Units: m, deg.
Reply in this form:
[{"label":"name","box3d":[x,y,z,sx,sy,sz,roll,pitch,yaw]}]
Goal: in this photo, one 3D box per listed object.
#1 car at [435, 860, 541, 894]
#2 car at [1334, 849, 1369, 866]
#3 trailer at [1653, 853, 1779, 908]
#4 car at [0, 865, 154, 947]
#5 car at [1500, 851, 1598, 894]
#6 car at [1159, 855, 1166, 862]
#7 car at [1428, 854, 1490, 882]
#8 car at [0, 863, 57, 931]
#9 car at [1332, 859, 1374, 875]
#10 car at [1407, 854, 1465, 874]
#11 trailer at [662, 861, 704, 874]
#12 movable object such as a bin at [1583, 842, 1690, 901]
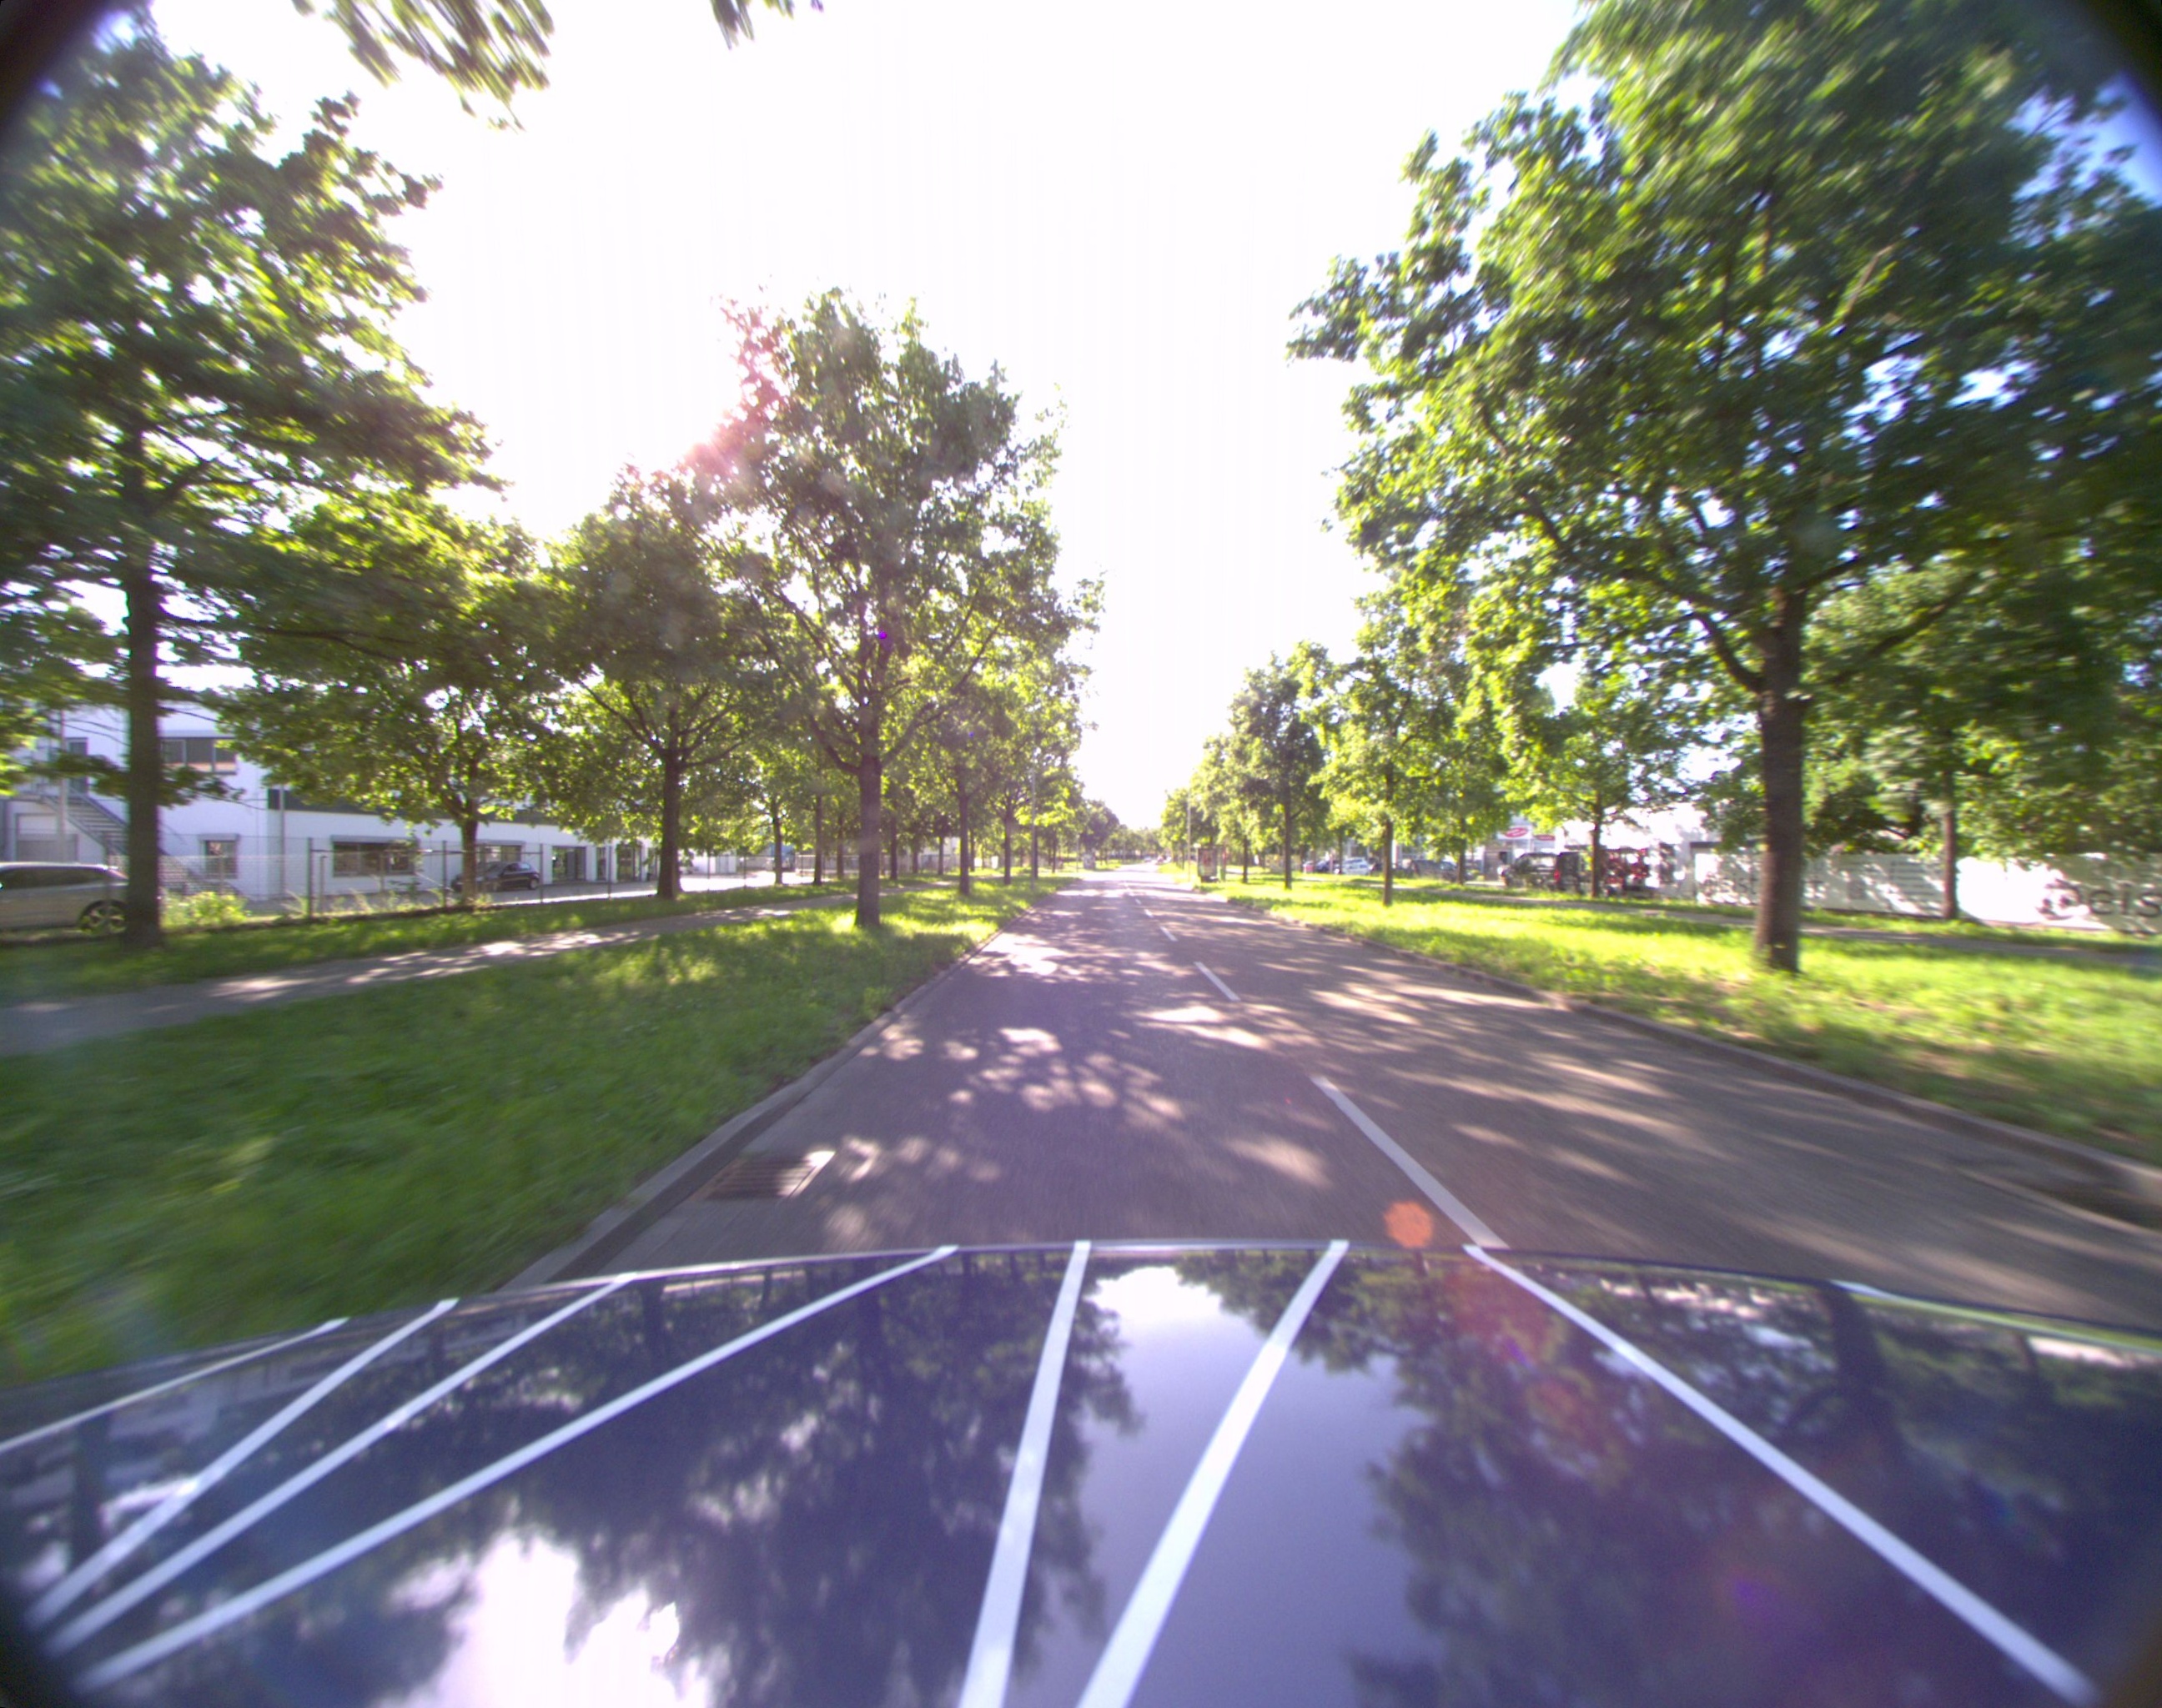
[{"label":"car","box3d":[-28.956,1.085,37.277,1.719,1.497,4.159,-2,0,3]},{"label":"car","box3d":[31.309,0.414,88.002,4.007,1.827,1.995,-2,1,-38]},{"label":"trailer","box3d":[24.522,0.964,29.535,1.758,2.002,3.965,0,0,4]},{"label":"car","box3d":[-23.021,1.087,15.689,1.999,1.597,4.715,0,1,-1]},{"label":"car","box3d":[25.048,0.941,40.955,1.998,2.162,5.672,0,0,2]},{"label":"car","box3d":[23.502,1.382,218.365,1.997,2.002,4.003,0,0,8]},{"label":"car","box3d":[28.057,1.010,56.406,3.989,2.002,2.004,0,0,31]},{"label":"car","box3d":[-25.759,0.992,16.135,1.999,1.549,4.455,0,0,-1]},{"label":"car","box3d":[27.776,1.322,77.474,3.885,1.493,2.003,-2,1,22]},{"label":"car","box3d":[34.930,1.003,74.873,5.038,1.827,2.003,-2,1,25]},{"label":"trailer","box3d":[-40.091,1.312,76.597,3.588,1.259,1.733,0,0,19]},{"label":"movable object such as a bin","box3d":[25.548,0.755,35.156,1.998,2.501,4.236,-2,0,3]}]
